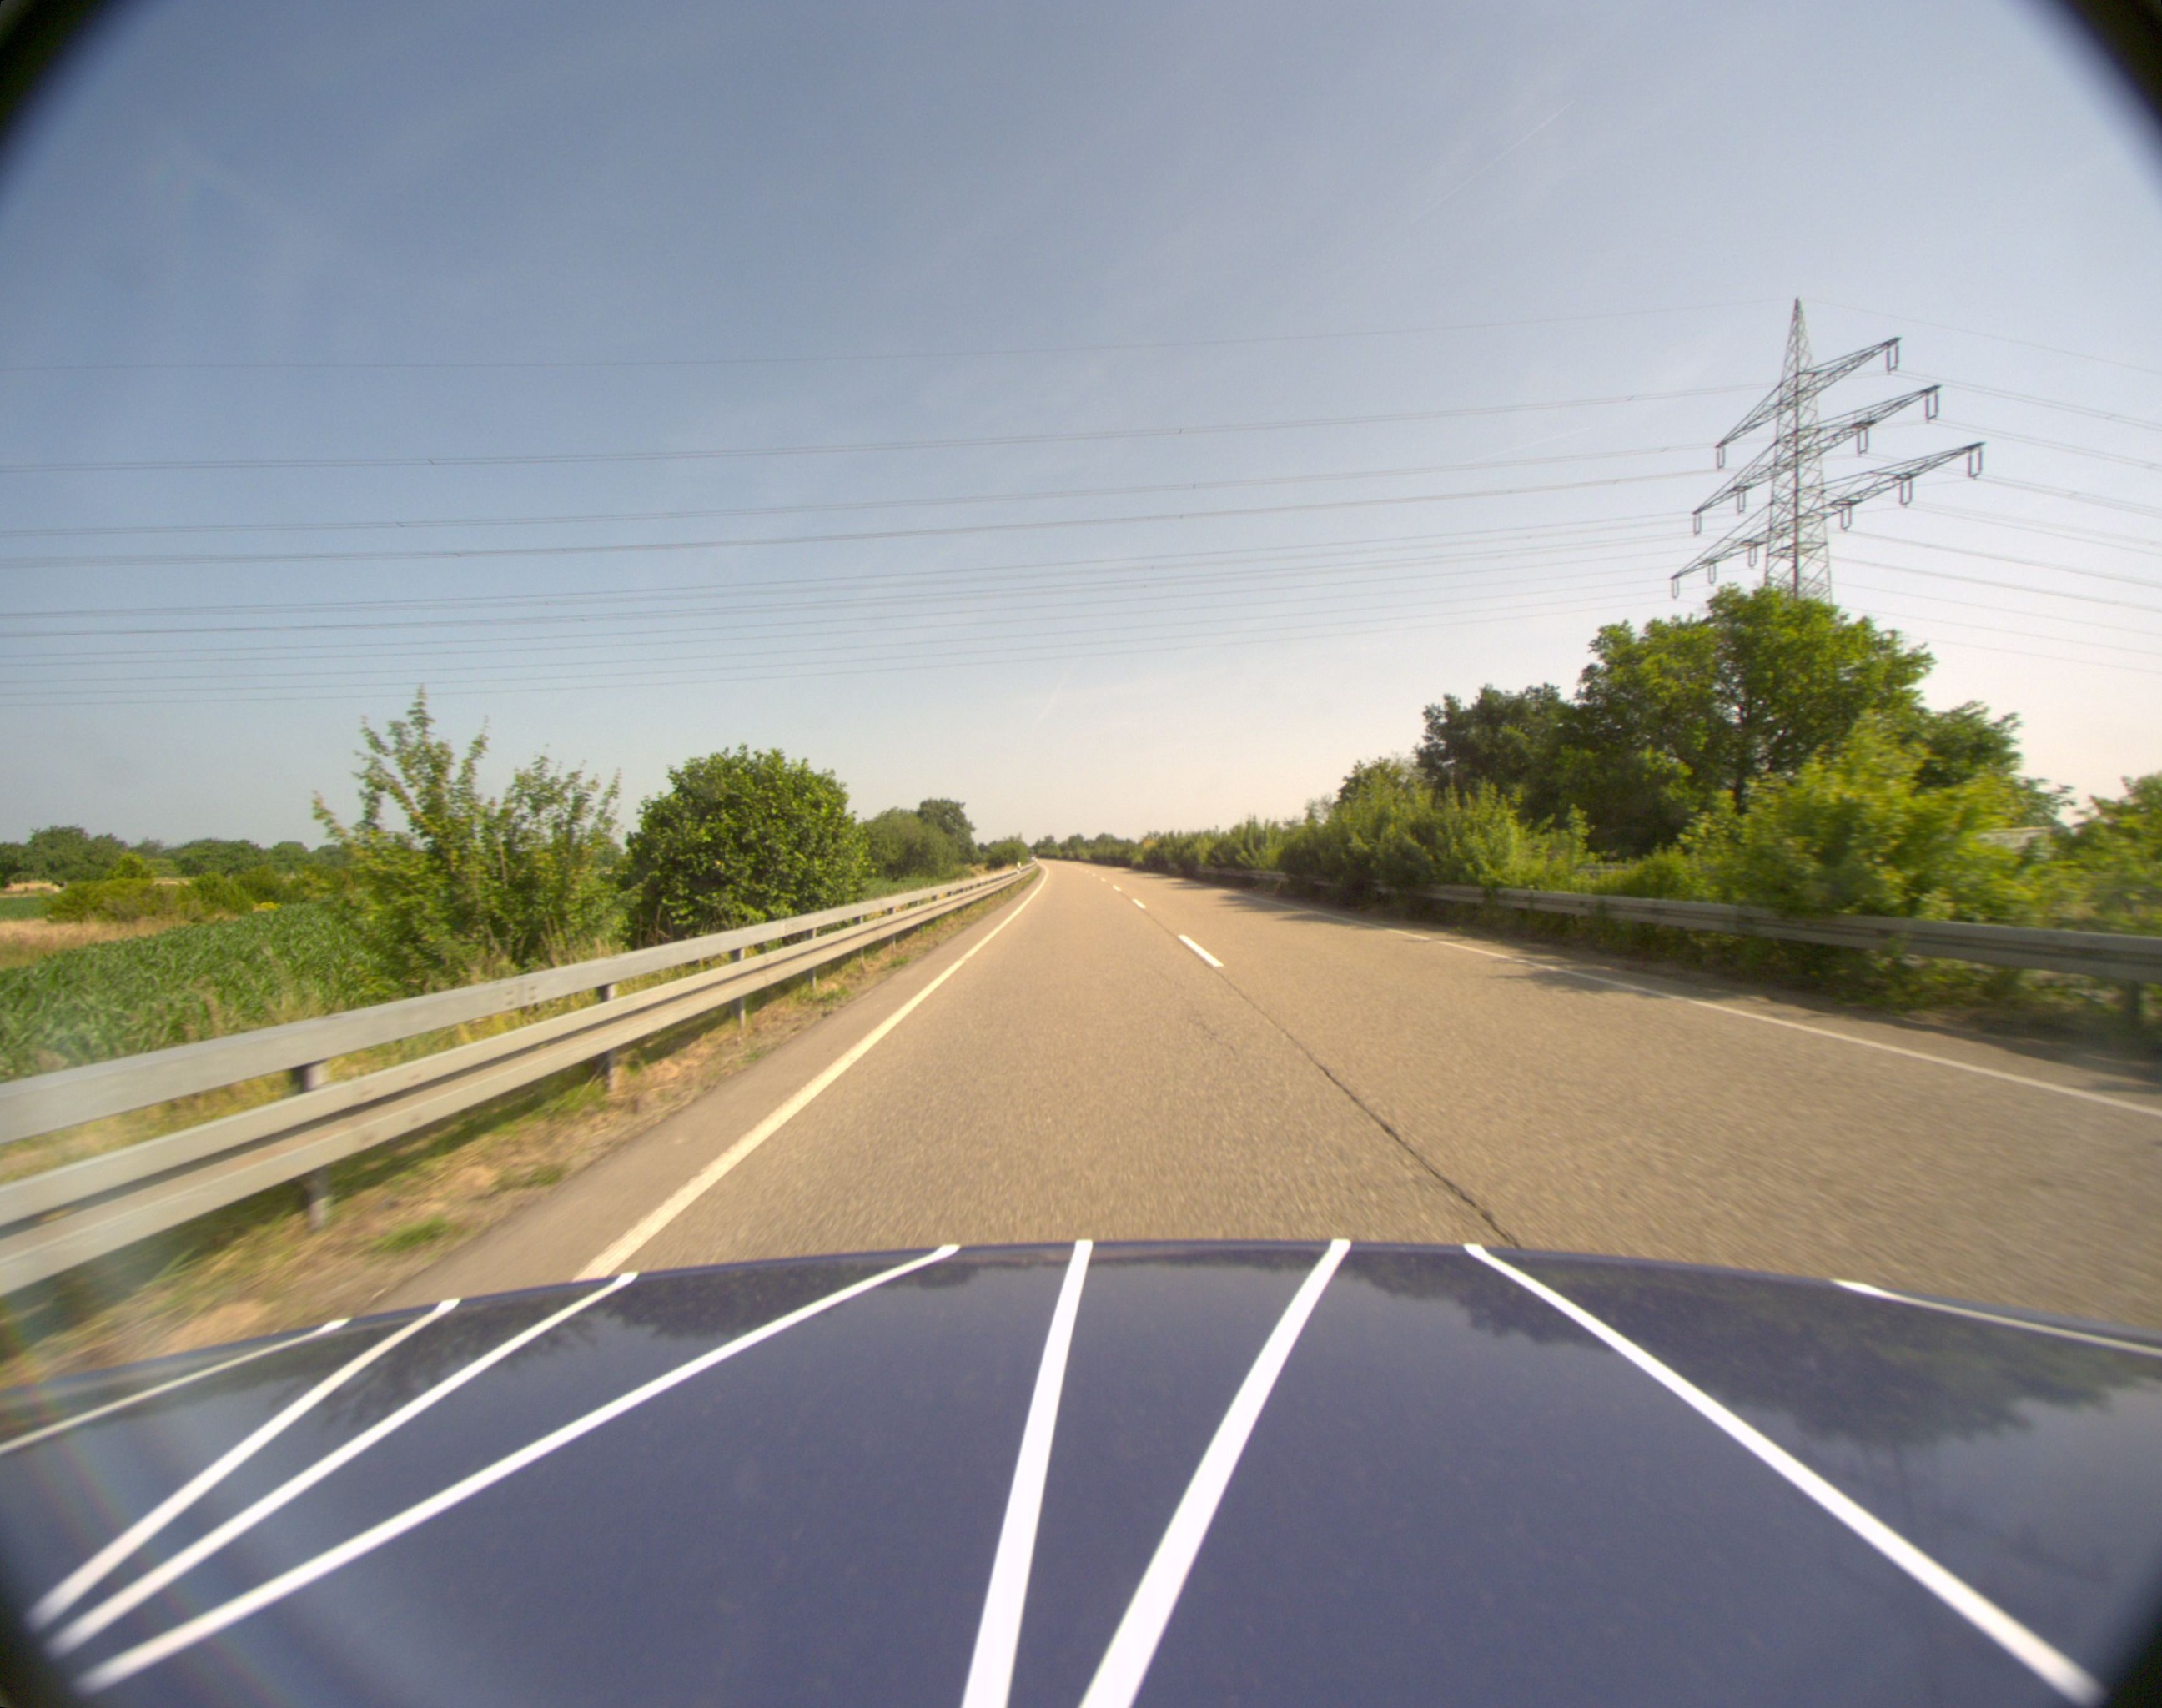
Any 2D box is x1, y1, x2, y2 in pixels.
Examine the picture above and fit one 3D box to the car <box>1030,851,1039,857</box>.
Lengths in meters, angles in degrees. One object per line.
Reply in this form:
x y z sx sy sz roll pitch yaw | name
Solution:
-13.005 0.007 210.853 1.705 1.474 3.595 -3 0 -17 | car
